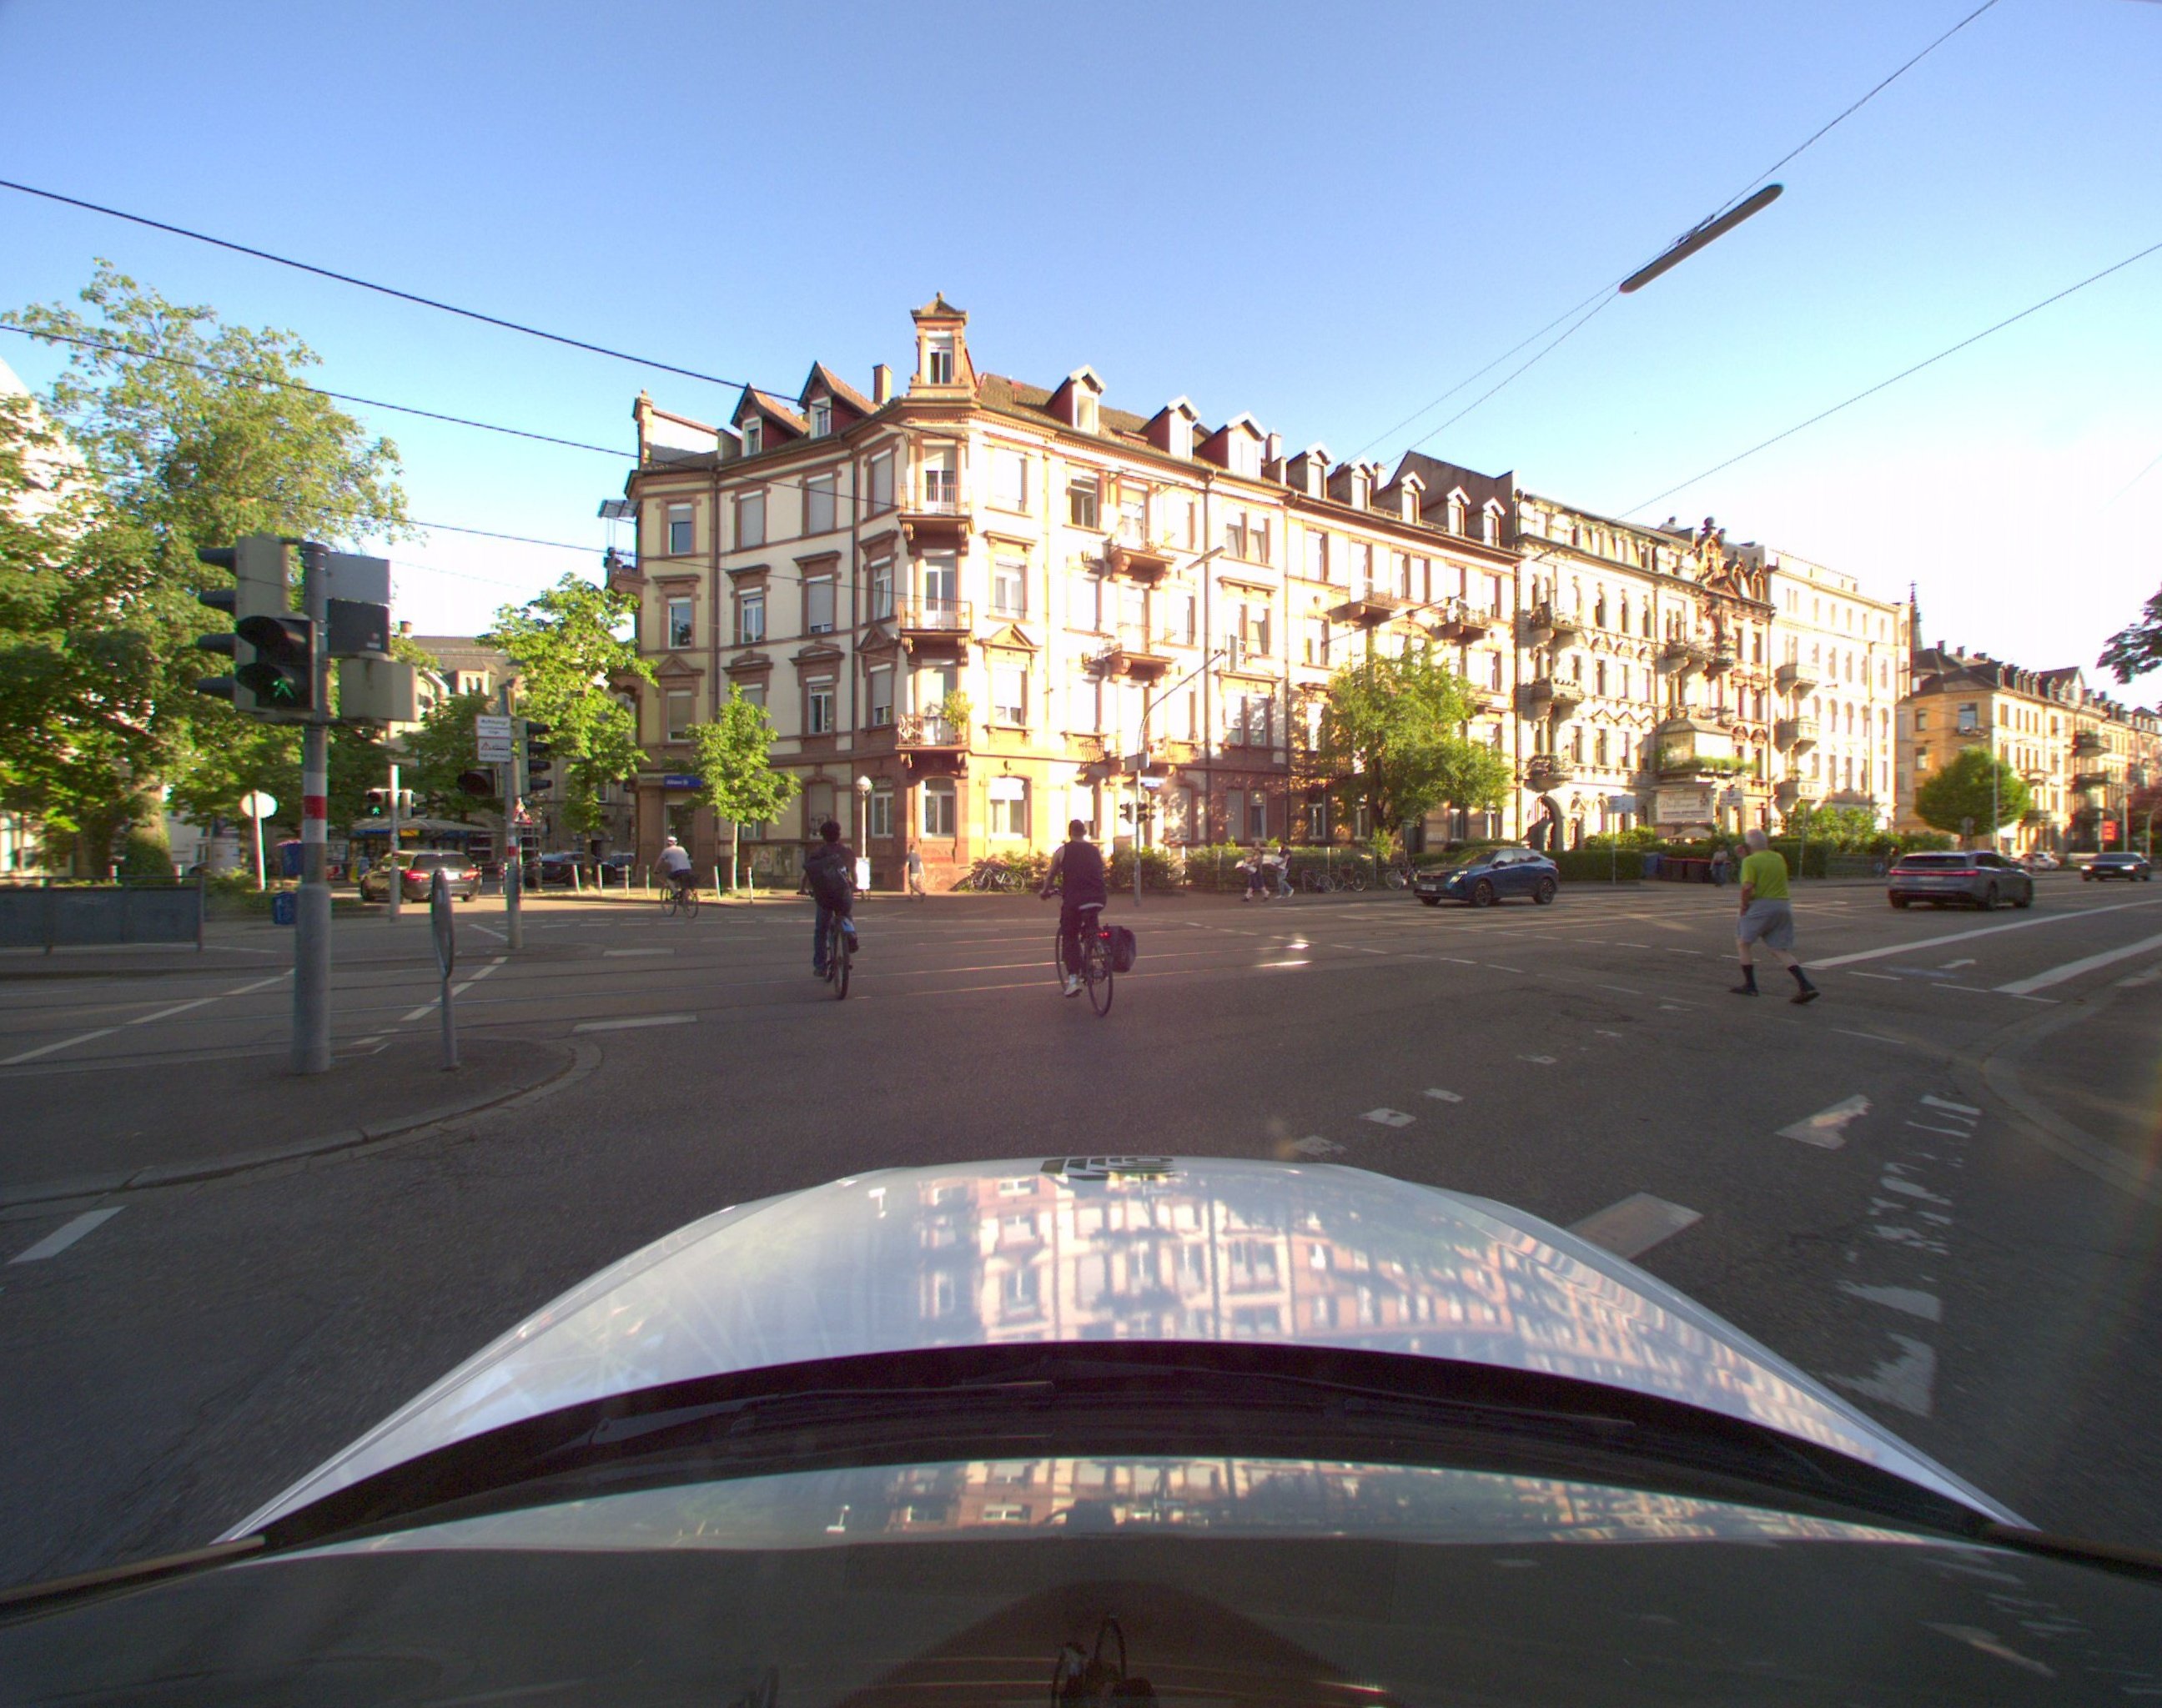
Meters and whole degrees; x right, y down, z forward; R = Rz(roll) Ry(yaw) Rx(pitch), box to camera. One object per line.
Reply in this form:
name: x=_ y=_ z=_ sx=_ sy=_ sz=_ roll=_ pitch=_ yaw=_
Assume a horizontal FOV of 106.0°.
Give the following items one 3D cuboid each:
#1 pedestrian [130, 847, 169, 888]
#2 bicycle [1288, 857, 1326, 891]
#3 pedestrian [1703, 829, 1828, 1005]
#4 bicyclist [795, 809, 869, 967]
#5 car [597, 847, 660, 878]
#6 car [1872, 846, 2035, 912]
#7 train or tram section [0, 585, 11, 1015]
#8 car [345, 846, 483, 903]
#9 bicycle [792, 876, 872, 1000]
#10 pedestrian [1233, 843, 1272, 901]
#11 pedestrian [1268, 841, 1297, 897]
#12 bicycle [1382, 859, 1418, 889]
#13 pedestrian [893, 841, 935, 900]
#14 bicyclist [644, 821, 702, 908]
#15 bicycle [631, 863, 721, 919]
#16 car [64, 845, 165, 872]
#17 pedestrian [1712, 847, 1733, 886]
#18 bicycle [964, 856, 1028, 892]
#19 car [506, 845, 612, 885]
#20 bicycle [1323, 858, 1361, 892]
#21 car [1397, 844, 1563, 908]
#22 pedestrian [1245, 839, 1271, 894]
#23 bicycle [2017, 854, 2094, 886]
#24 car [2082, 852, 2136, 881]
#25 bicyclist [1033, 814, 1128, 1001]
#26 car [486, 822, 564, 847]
pedestrian: x=-40.922 y=0.592 z=35.786 sx=0.880 sy=1.750 sz=0.715 roll=0 pitch=0 yaw=-6
bicycle: x=7.587 y=0.673 z=27.351 sx=1.234 sy=1.107 sz=0.440 roll=0 pitch=1 yaw=-22
pedestrian: x=7.196 y=0.617 z=8.608 sx=0.638 sy=1.727 sz=0.893 roll=3 pitch=2 yaw=18
bicyclist: x=-2.623 y=0.336 z=8.633 sx=0.708 sy=1.573 sz=0.952 roll=0 pitch=0 yaw=-16
car: x=-22.133 y=0.374 z=39.947 sx=1.498 sy=1.457 sz=3.201 roll=0 pitch=0 yaw=-5
car: x=23.232 y=0.599 z=21.659 sx=4.487 sy=1.585 sz=1.958 roll=0 pitch=0 yaw=-29
train or tram section: x=-13.732 y=-0.460 z=2.935 sx=11.828 sy=3.619 sz=2.776 roll=0 pitch=0 yaw=-28
car: x=-19.600 y=0.571 z=23.926 sx=3.811 sy=1.542 sz=1.806 roll=1 pitch=-1 yaw=29
bicycle: x=-2.652 y=0.817 z=8.727 sx=0.718 sy=1.107 sz=1.956 roll=0 pitch=0 yaw=-17
pedestrian: x=5.031 y=0.519 z=23.936 sx=0.895 sy=1.664 sz=0.710 roll=0 pitch=3 yaw=-10
pedestrian: x=6.172 y=0.452 z=24.924 sx=0.635 sy=1.715 sz=0.661 roll=0 pitch=0 yaw=-14
bicycle: x=11.312 y=0.703 z=28.901 sx=1.234 sy=1.038 sz=0.440 roll=0 pitch=1 yaw=-23
pedestrian: x=-4.781 y=0.452 z=23.317 sx=0.893 sy=1.634 sz=0.730 roll=2 pitch=2 yaw=31
bicyclist: x=-9.351 y=0.229 z=18.659 sx=0.933 sy=1.913 sz=0.802 roll=0 pitch=0 yaw=32
bicycle: x=-9.260 y=0.804 z=18.594 sx=2.198 sy=1.185 sz=0.818 roll=0 pitch=0 yaw=33
car: x=-55.332 y=0.257 z=46.660 sx=3.554 sy=1.499 sz=1.669 roll=0 pitch=-1 yaw=-4
pedestrian: x=27.474 y=0.539 z=34.899 sx=0.495 sy=1.641 sz=0.523 roll=0 pitch=0 yaw=-16
bicycle: x=-2.712 y=0.634 z=26.132 sx=1.950 sy=1.107 sz=0.444 roll=2 pitch=0 yaw=6
car: x=-21.961 y=0.423 z=34.498 sx=1.787 sy=1.611 sz=4.366 roll=0 pitch=0 yaw=-2
bicycle: x=8.920 y=0.709 z=27.856 sx=1.234 sy=1.107 sz=0.440 roll=0 pitch=1 yaw=-22
car: x=11.208 y=0.576 z=22.856 sx=4.419 sy=1.650 sz=1.931 roll=0 pitch=0 yaw=-27
pedestrian: x=5.569 y=0.389 z=25.628 sx=0.635 sy=1.715 sz=0.519 roll=0 pitch=0 yaw=-14
bicycle: x=65.133 y=1.041 z=54.453 sx=0.935 sy=2.016 sz=3.214 roll=-1 pitch=1 yaw=-32
car: x=56.040 y=0.680 z=44.380 sx=3.489 sy=1.524 sz=1.521 roll=0 pitch=0 yaw=-33
bicyclist: x=-0.027 y=0.474 z=7.790 sx=0.687 sy=1.656 sz=0.985 roll=-1 pitch=-1 yaw=-13
car: x=-38.598 y=-1.355 z=56.608 sx=3.979 sy=1.647 sz=1.876 roll=0 pitch=0 yaw=-4
